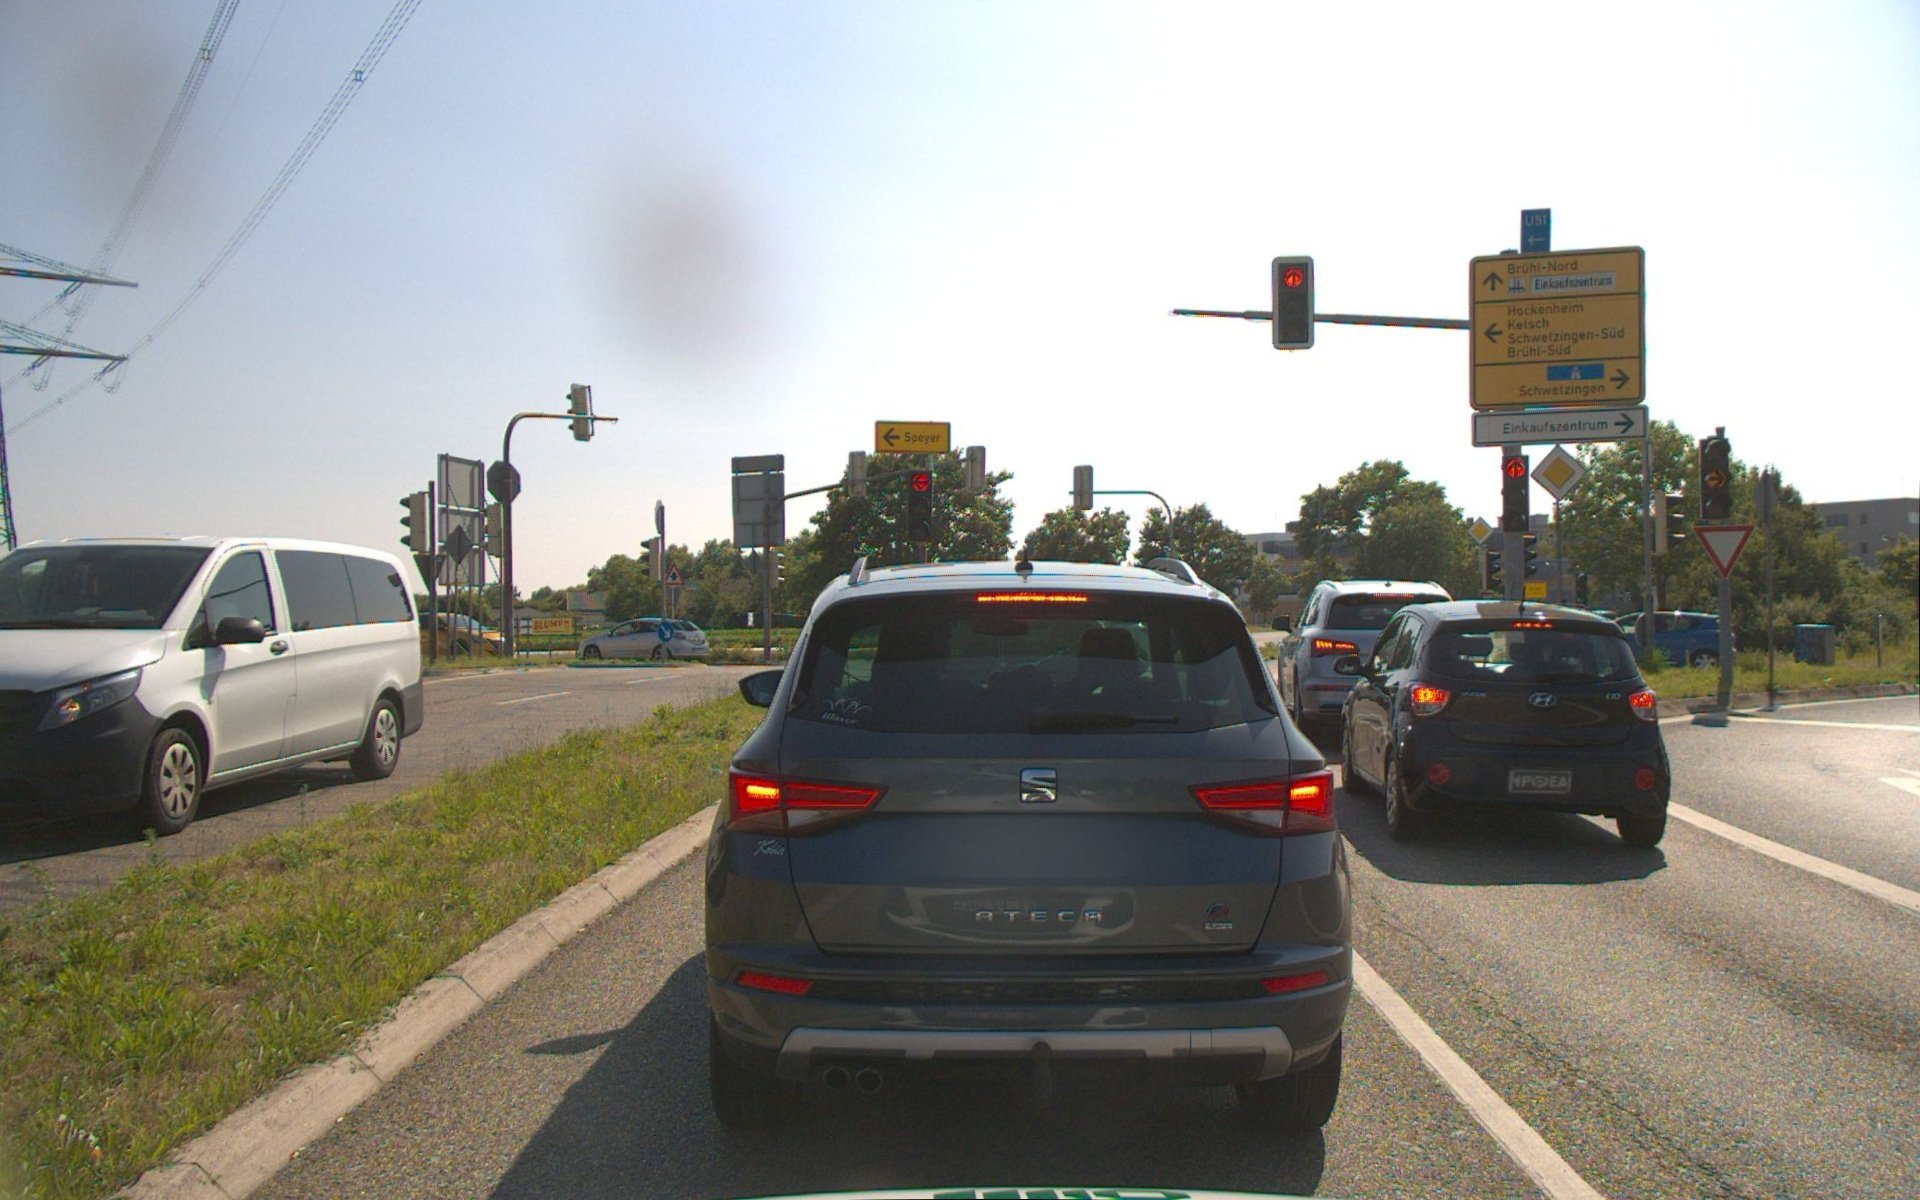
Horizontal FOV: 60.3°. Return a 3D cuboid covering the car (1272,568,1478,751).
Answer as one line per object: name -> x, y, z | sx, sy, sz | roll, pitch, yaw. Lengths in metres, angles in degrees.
car -> 4.293, 0.569, 17.604 | 1.598, 1.706, 3.752 | 1, 0, 6

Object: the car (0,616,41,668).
car -> -32.721, 1.403, 55.119 | 3.910, 1.680, 1.818 | -1, 0, 27

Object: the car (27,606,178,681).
car -> -20.396, 1.010, 39.313 | 3.924, 1.680, 1.811 | -1, -1, 39

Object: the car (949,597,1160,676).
car -> 1.879, 0.699, 32.783 | 3.846, 1.490, 1.711 | 0, 0, -23

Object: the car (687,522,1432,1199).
car -> 0.212, 0.645, 5.658 | 1.706, 1.596, 3.623 | 1, 0, -1

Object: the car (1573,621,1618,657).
car -> 31.602, 1.910, 82.227 | 1.839, 1.702, 3.767 | 1, 0, 24

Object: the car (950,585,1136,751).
car -> 0.918, 0.642, 17.256 | 1.705, 1.510, 3.626 | 1, 0, 4

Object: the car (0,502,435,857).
car -> -5.540, 0.406, 11.614 | 1.952, 1.951, 4.949 | 1, 0, 2

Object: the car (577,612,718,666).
car -> -9.312, 1.156, 49.314 | 3.791, 1.545, 1.806 | -1, 0, 25

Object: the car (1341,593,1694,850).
car -> 3.645, 0.706, 11.355 | 1.598, 1.473, 3.297 | 1, 0, 6

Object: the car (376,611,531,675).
car -> -13.881, 1.158, 45.313 | 3.910, 1.680, 1.818 | -1, 0, 27

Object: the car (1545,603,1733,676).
car -> 15.117, 0.862, 36.921 | 3.789, 1.545, 1.807 | -1, 0, 23

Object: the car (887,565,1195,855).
car -> 0.464, 0.629, 11.128 | 1.706, 1.596, 3.624 | 1, 0, 0

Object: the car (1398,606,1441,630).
car -> 31.686, 1.228, 113.998 | 1.683, 1.576, 3.596 | 1, 0, 37
